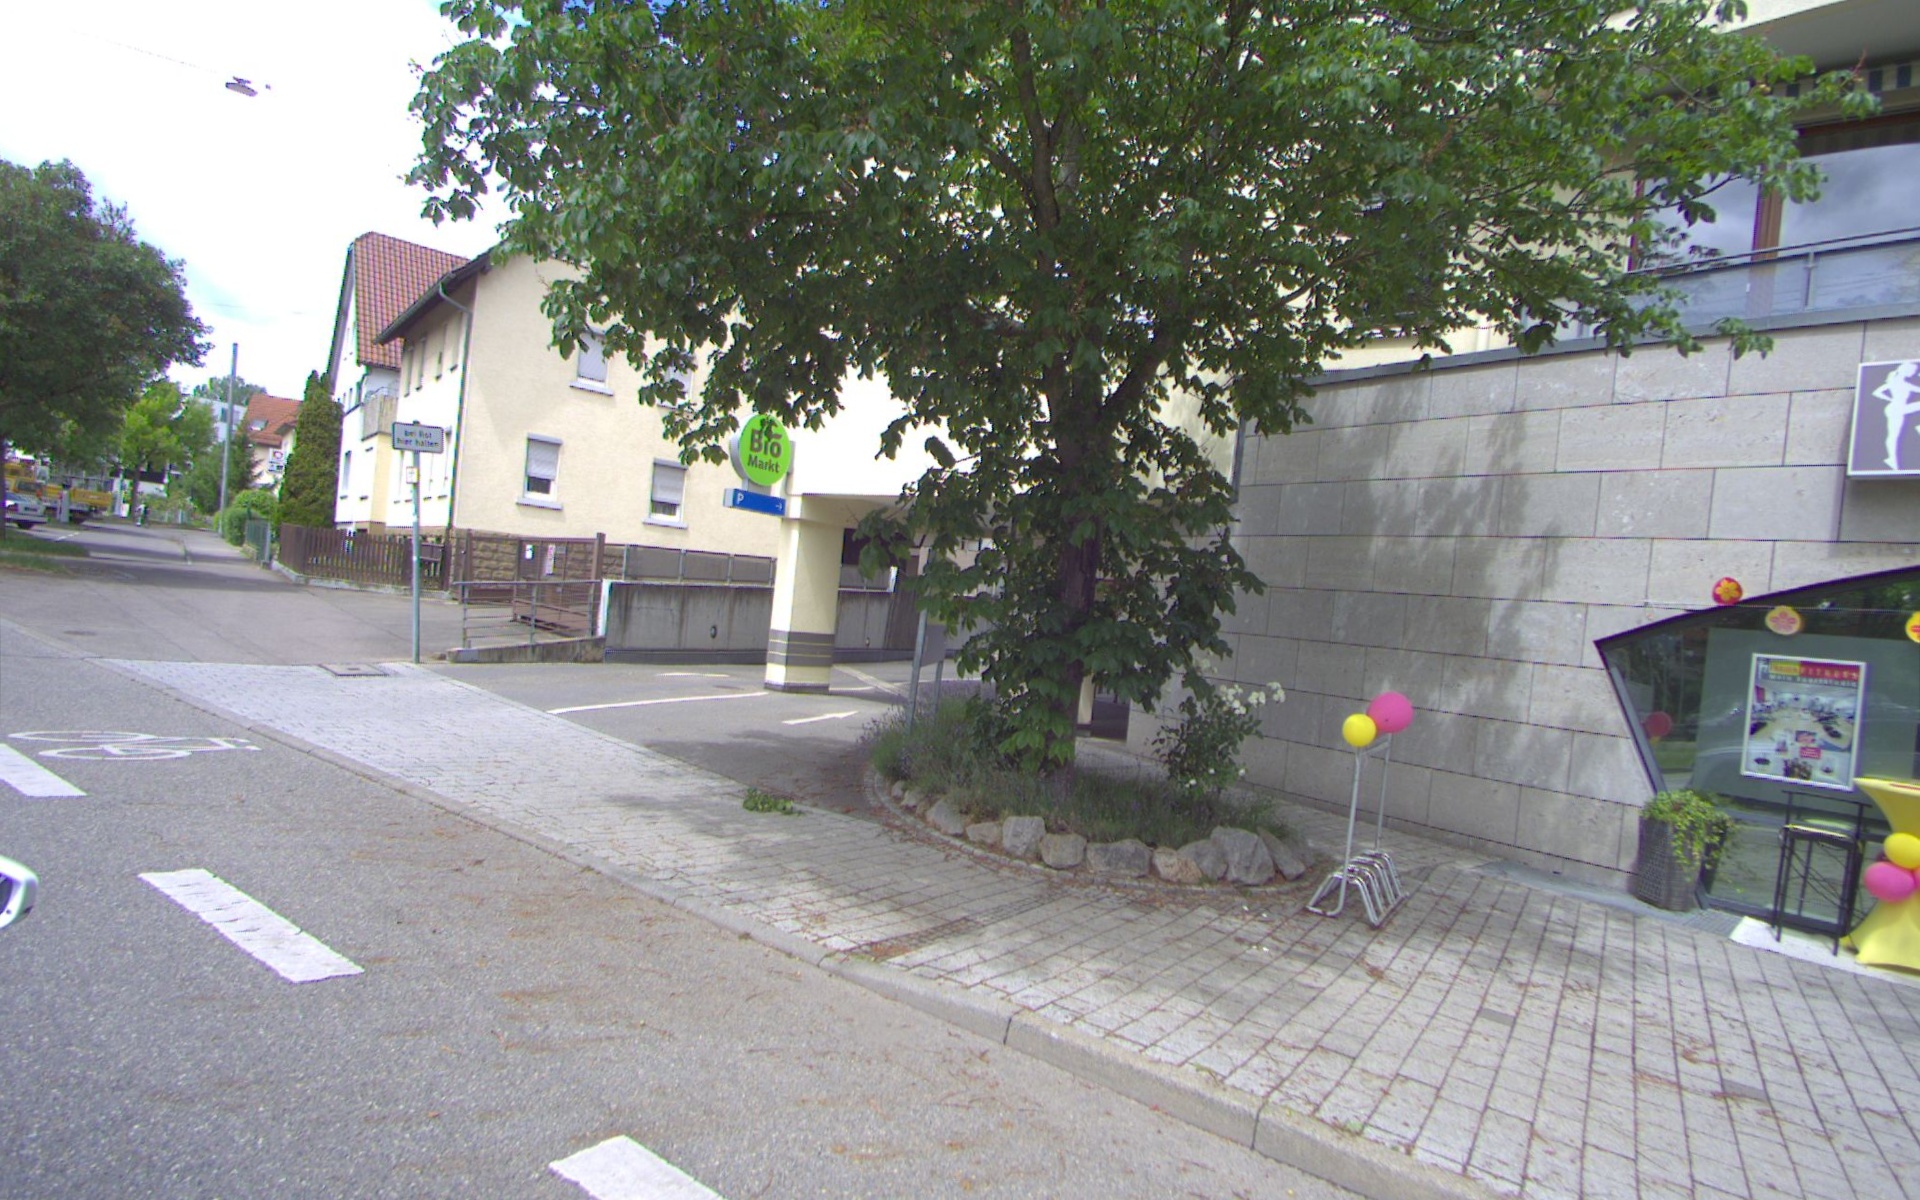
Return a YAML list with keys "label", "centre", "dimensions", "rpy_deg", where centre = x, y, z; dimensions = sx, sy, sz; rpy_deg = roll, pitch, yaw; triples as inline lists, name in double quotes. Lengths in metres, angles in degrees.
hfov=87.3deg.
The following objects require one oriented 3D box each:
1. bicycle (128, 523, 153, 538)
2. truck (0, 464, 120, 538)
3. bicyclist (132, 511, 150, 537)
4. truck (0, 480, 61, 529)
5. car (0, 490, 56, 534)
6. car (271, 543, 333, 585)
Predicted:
- label: "bicycle"
  centre: [-52.555, -4.460, 64.527]
  dimensions: [1.725, 0.821, 0.596]
  rpy_deg: [6, -2, 31]
- label: "truck"
  centre: [-49.254, -5.396, 53.386]
  dimensions: [6.585, 3.042, 2.771]
  rpy_deg: [8, -2, -3]
- label: "bicyclist"
  centre: [-52.549, -4.874, 64.522]
  dimensions: [0.557, 1.576, 0.590]
  rpy_deg: [6, -2, 31]
- label: "truck"
  centre: [-49.086, -5.059, 50.579]
  dimensions: [5.576, 2.036, 2.001]
  rpy_deg: [8, -2, -3]
- label: "car"
  centre: [-38.850, -3.717, 39.705]
  dimensions: [4.603, 1.469, 1.768]
  rpy_deg: [7, 0, 0]
- label: "car"
  centre: [-22.565, -1.235, 34.435]
  dimensions: [1.455, 1.137, 3.835]
  rpy_deg: [9, -3, -36]
